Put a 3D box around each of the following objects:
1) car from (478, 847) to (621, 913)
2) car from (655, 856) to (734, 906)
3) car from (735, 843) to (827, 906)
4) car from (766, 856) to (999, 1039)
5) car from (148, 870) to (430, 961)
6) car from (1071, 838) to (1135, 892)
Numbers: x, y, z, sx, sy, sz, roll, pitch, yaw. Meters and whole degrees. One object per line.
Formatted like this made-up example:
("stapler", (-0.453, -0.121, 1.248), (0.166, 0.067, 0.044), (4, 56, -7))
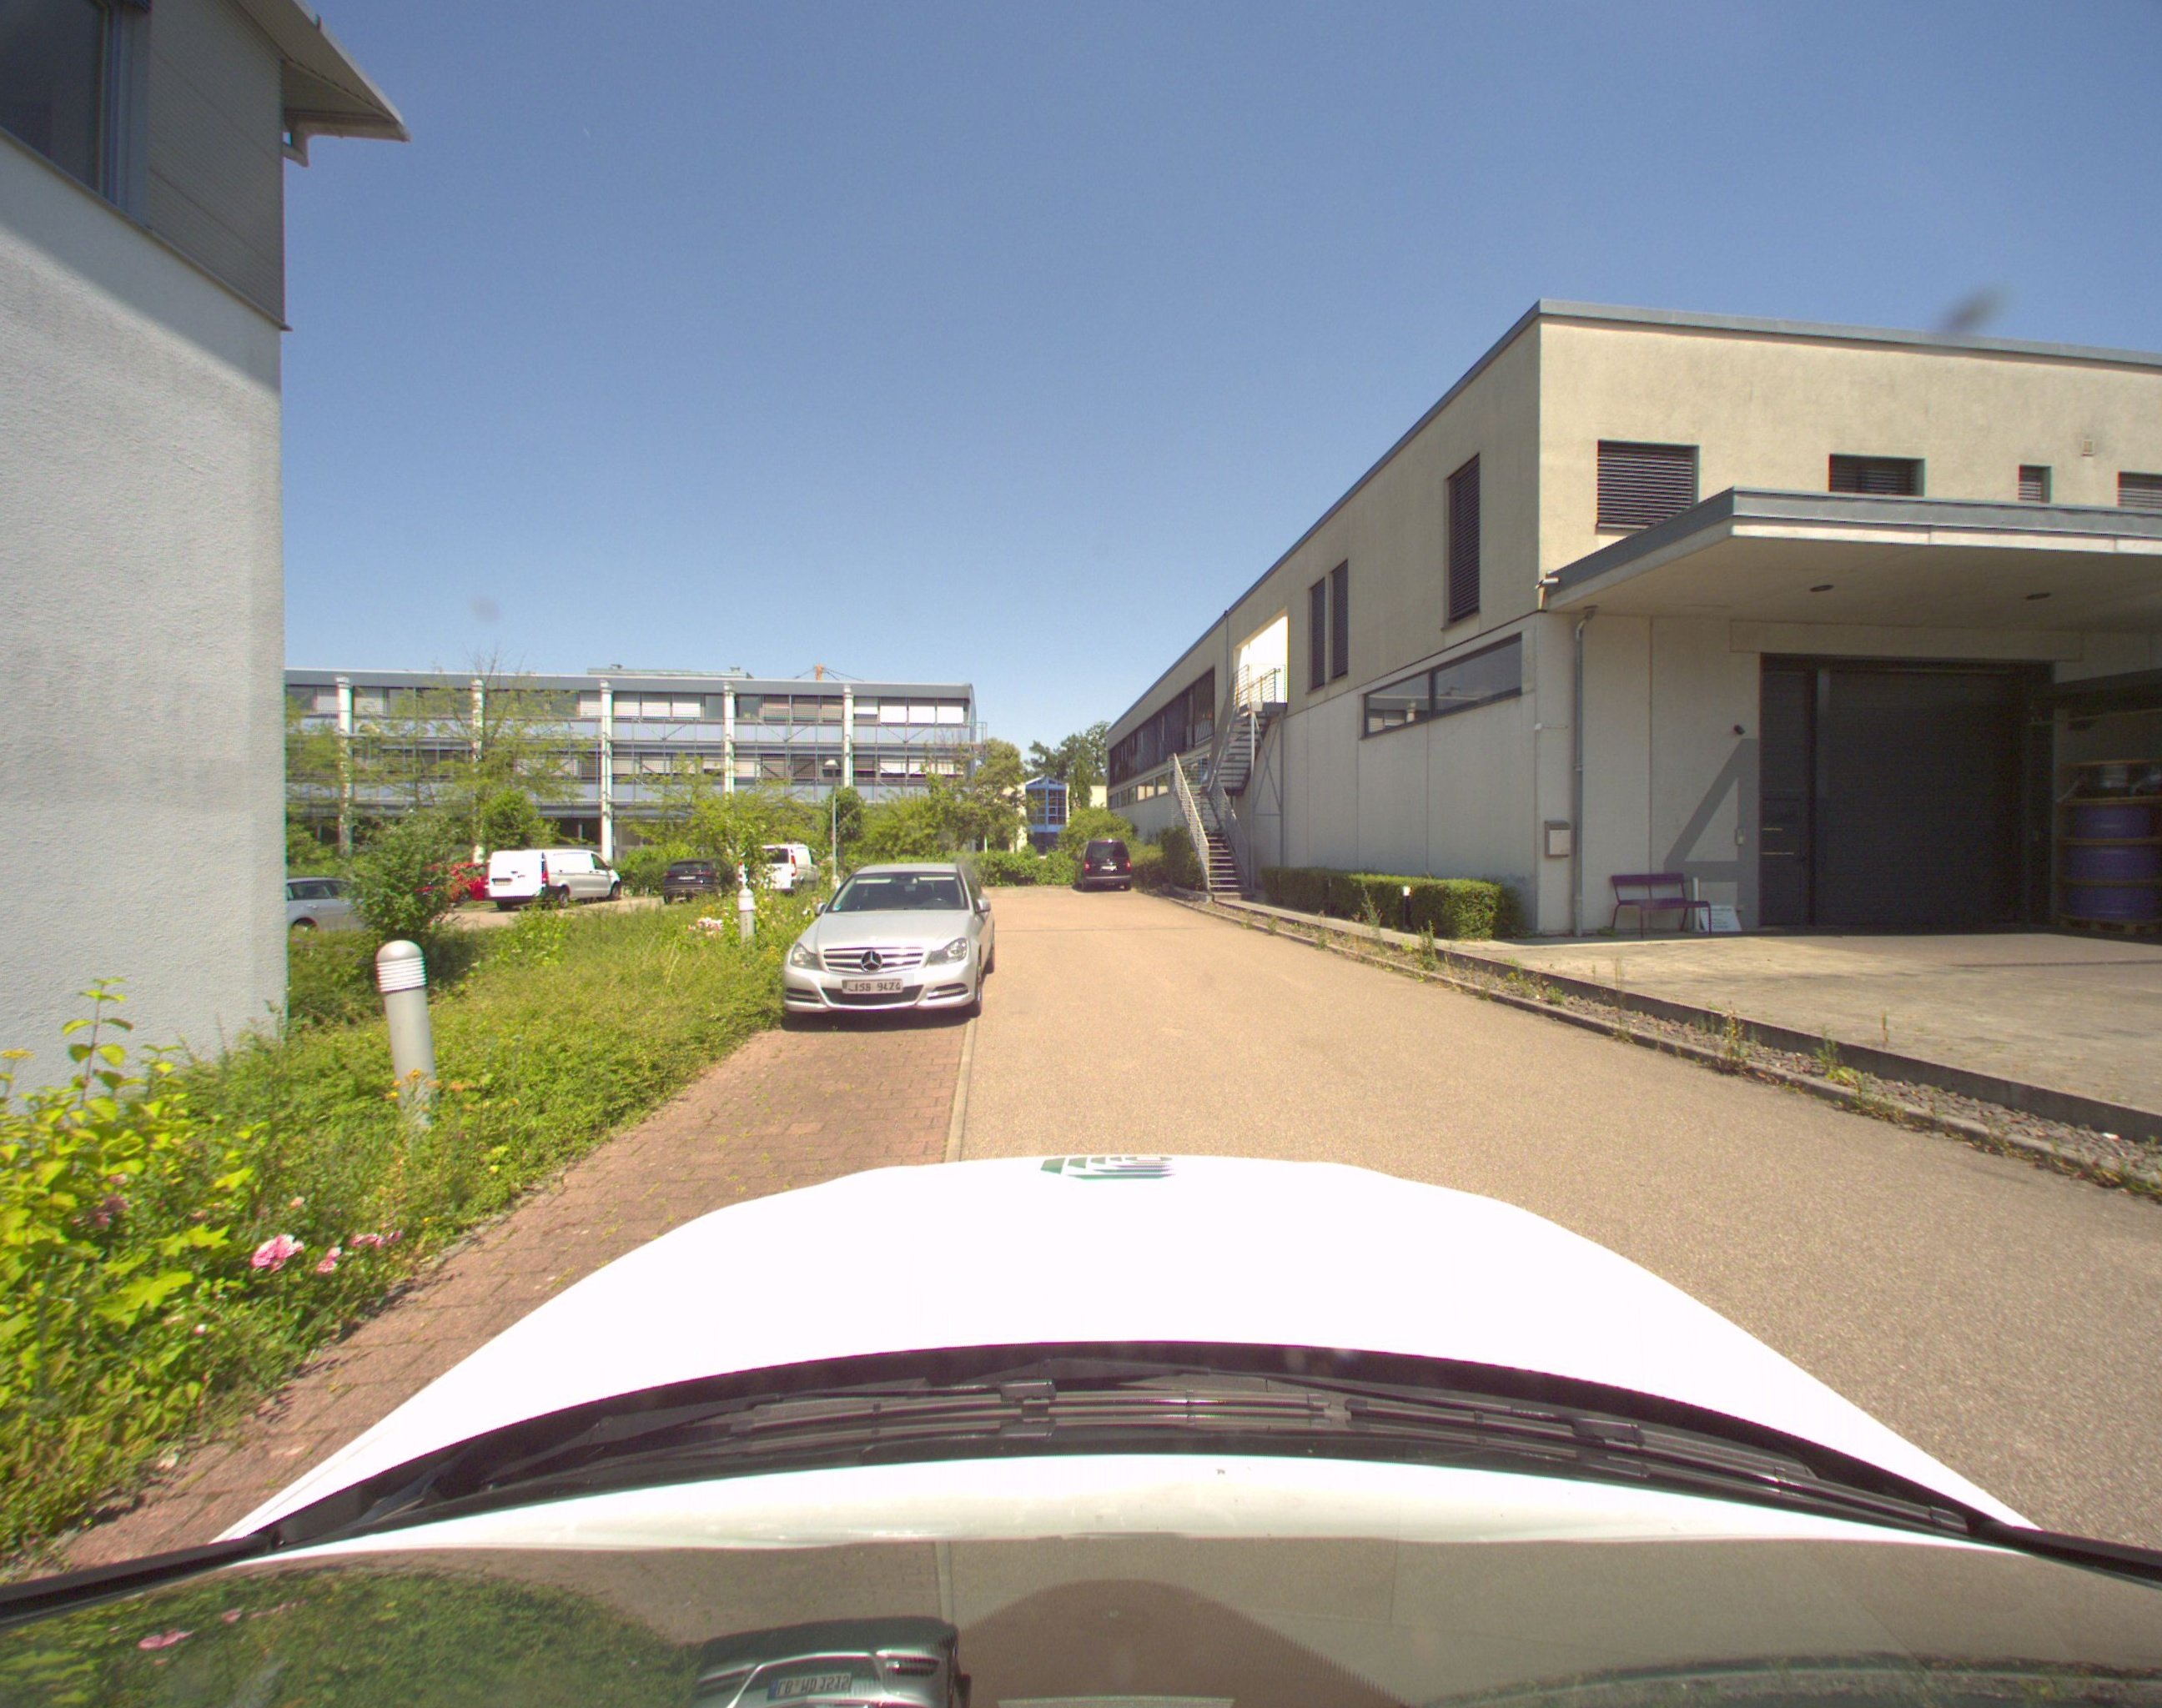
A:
("car", (-17.347, 0.771, 26.925), (1.879, 1.891, 4.795), (-1, 1, -5))
("car", (-13.175, 0.862, 27.968), (1.758, 1.476, 3.979), (-2, 1, -16))
("car", (-10.168, 0.601, 27.978), (1.912, 1.905, 4.795), (-2, 1, -8))
("car", (-1.863, 0.779, 8.900), (1.725, 1.457, 4.142), (-2, 0, -4))
("car", (-16.186, 1.159, 17.060), (1.855, 1.472, 4.473), (-1, 1, -7))
("car", (0.738, 0.353, 30.091), (1.741, 1.837, 3.991), (-2, 1, -7))
